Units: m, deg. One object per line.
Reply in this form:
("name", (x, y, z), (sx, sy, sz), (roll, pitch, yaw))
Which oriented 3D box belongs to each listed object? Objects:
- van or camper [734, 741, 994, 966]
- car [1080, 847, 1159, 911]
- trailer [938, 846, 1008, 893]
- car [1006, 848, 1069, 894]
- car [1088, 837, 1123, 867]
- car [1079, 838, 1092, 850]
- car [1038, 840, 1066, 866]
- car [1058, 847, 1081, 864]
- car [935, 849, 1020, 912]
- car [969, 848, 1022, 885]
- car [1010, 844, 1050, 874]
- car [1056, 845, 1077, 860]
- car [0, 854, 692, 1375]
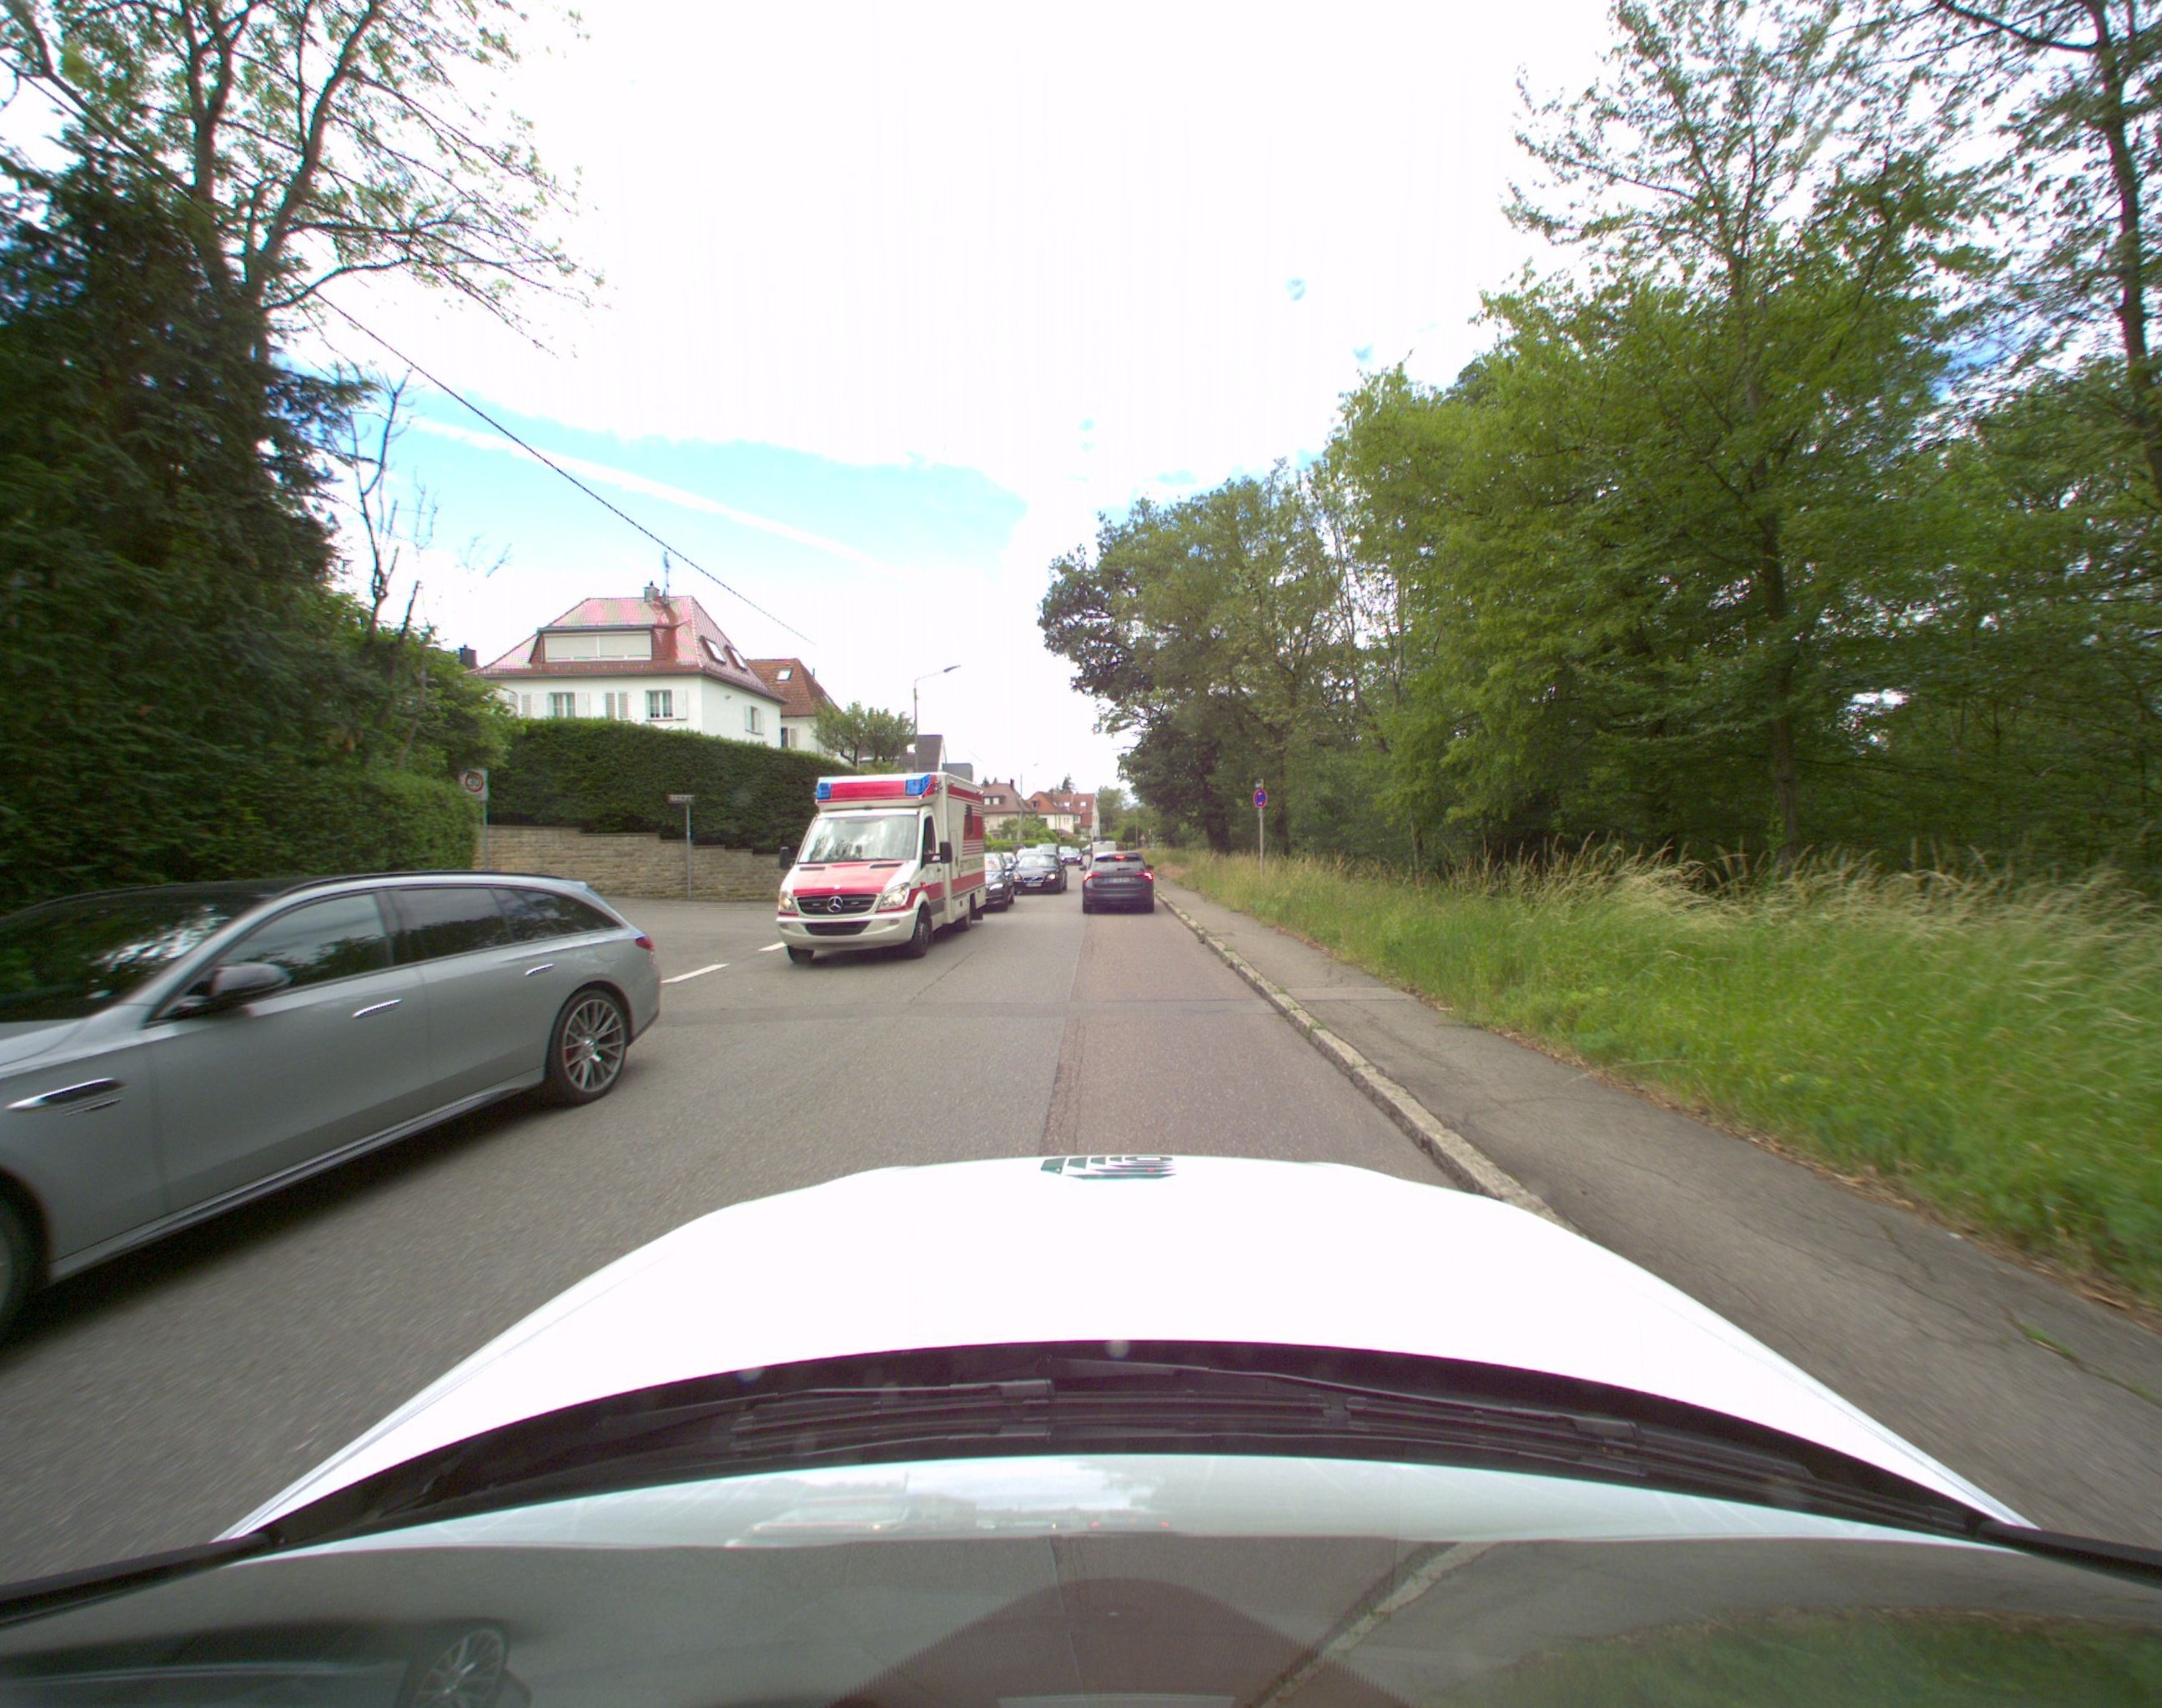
("van or camper", (-3.249, -0.050, 14.345), (2.447, 2.894, 7.169), (-2, 1, 1))
("car", (0.888, 0.563, 20.904), (1.723, 1.439, 4.322), (0, 1, -1))
("trailer", (-3.848, 0.504, 29.745), (1.756, 1.496, 4.476), (-2, 1, 2))
("car", (-1.493, 0.552, 29.267), (1.756, 1.446, 4.477), (-2, 1, 3))
("car", (1.582, -0.151, 54.040), (2.066, 1.922, 4.920), (0, 1, -2))
("car", (0.647, -1.482, 115.185), (1.827, 1.596, 4.325), (0, 2, 1))
("car", (-2.110, -0.116, 61.379), (1.856, 1.926, 5.039), (0, 1, 1))
("car", (-0.937, 0.110, 70.345), (1.856, 1.414, 4.593), (0, 1, 1))
("car", (-2.661, 0.614, 21.818), (1.759, 1.446, 4.471), (-2, 1, -2))
("car", (-3.778, 0.510, 36.658), (1.757, 1.499, 4.475), (-3, 1, 1))
("car", (-2.964, 0.253, 47.958), (1.831, 1.648, 4.188), (-3, 1, 2))
("car", (-1.512, -0.162, 86.101), (1.774, 1.500, 4.022), (0, 1, 6))
("car", (-4.053, 0.828, 3.831), (1.790, 1.504, 4.868), (-3, 0, 3))
